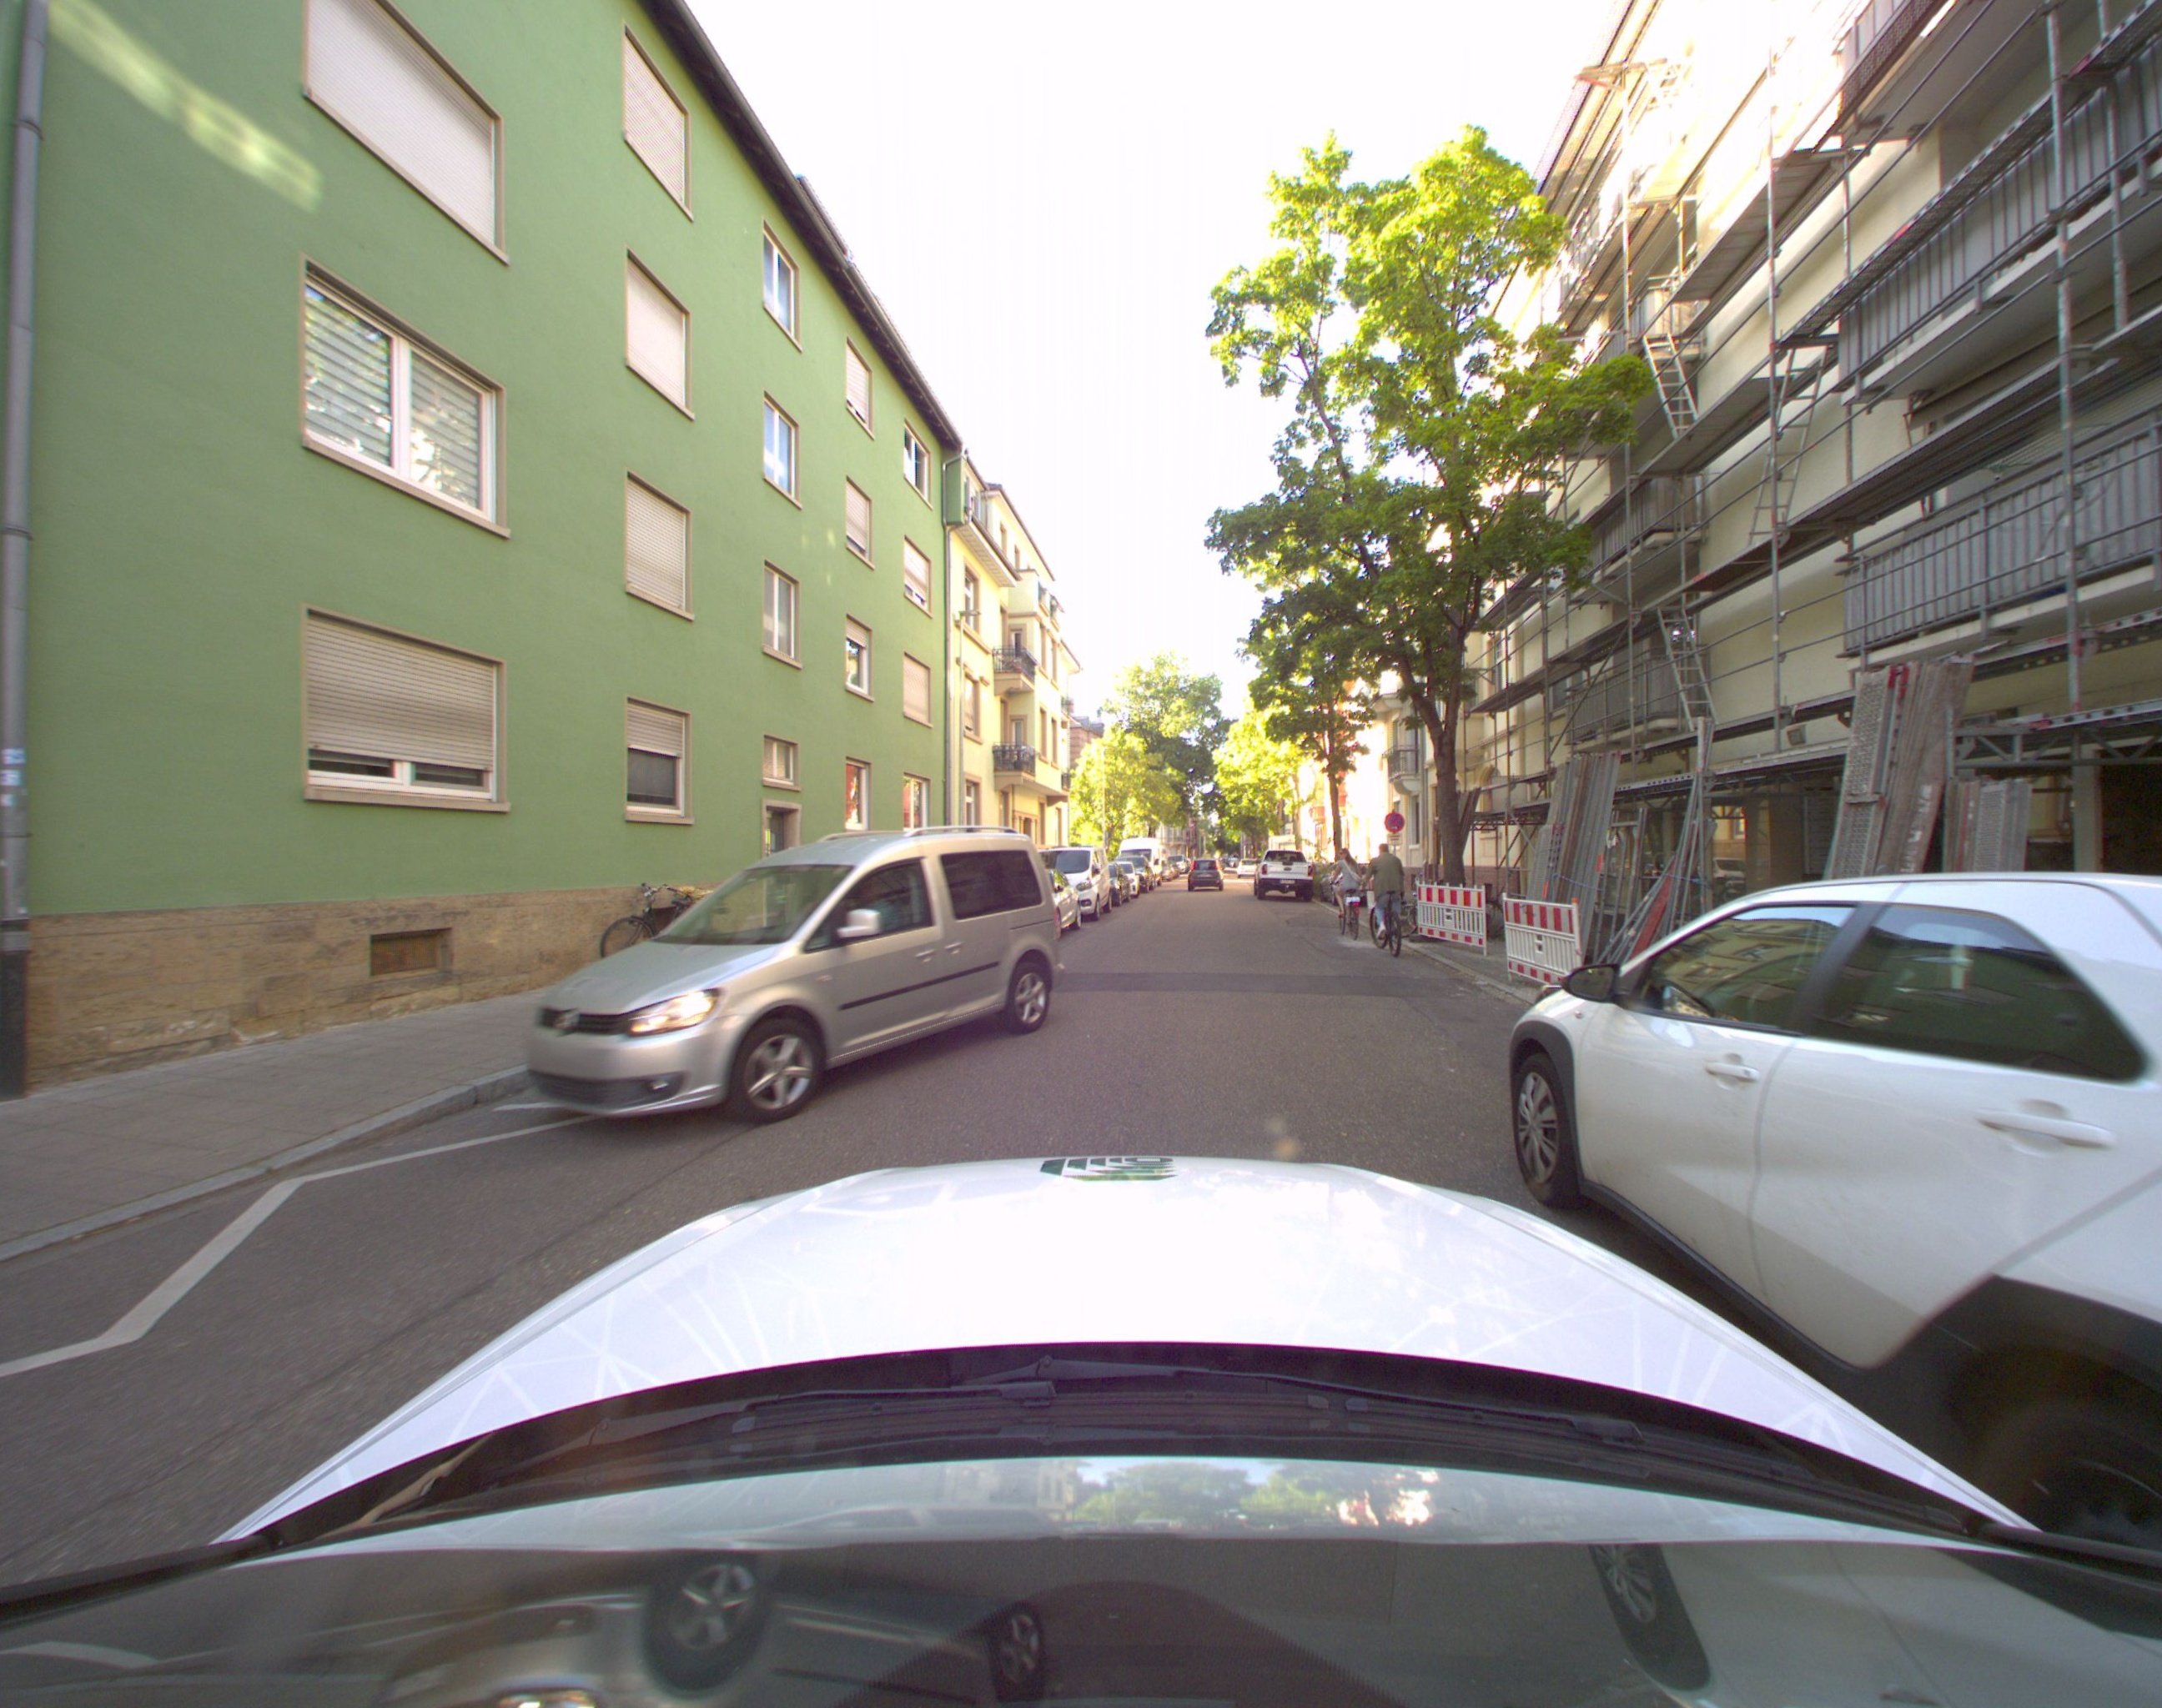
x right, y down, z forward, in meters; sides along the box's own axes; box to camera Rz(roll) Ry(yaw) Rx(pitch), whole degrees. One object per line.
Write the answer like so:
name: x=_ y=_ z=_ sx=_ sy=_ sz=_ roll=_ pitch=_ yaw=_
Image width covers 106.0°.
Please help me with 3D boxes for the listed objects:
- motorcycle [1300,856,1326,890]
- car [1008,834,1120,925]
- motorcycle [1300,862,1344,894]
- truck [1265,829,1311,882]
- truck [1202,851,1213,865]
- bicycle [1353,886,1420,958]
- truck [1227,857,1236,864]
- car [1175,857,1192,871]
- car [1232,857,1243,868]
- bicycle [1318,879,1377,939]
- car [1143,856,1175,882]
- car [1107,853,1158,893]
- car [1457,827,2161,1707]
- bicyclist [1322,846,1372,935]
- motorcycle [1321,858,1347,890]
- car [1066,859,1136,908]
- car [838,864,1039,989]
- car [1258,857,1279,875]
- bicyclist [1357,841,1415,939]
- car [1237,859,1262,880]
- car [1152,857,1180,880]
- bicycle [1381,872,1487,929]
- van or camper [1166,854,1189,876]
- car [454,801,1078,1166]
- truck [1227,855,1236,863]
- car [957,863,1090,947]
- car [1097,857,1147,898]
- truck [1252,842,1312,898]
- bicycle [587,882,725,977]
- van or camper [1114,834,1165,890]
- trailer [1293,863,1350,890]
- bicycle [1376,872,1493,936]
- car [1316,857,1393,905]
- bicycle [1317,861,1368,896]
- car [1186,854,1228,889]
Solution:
motorcycle: x=10.383 y=0.823 z=36.562 sx=0.924 sy=1.486 sz=2.144 roll=0 pitch=0 yaw=11
car: x=-0.320 y=0.668 z=23.009 sx=2.239 sy=2.168 sz=5.255 roll=-3 pitch=-1 yaw=8
motorcycle: x=9.872 y=0.964 z=33.317 sx=1.770 sy=1.240 sz=0.696 roll=0 pitch=0 yaw=-30
truck: x=12.813 y=0.084 z=50.722 sx=2.061 sy=2.969 sz=6.124 roll=-3 pitch=-1 yaw=9
truck: x=28.878 y=0.843 z=185.483 sx=2.057 sy=2.926 sz=5.082 roll=-5 pitch=-1 yaw=10
bicycle: x=5.090 y=1.094 z=13.663 sx=0.734 sy=1.060 sz=1.863 roll=1 pitch=-1 yaw=11
truck: x=35.684 y=1.568 z=192.815 sx=1.981 sy=1.457 sz=4.011 roll=-1 pitch=0 yaw=10
car: x=12.310 y=1.153 z=97.498 sx=1.815 sy=1.554 sz=4.142 roll=-4 pitch=-1 yaw=7
car: x=24.959 y=1.305 z=130.156 sx=1.652 sy=1.669 sz=3.768 roll=0 pitch=0 yaw=11
bicycle: x=5.227 y=1.045 z=16.077 sx=0.702 sy=1.045 sz=1.861 roll=3 pitch=0 yaw=6
car: x=5.339 y=0.968 z=55.097 sx=1.770 sy=1.591 sz=4.480 roll=-3 pitch=-1 yaw=9
car: x=2.513 y=0.849 z=38.679 sx=1.864 sy=1.685 sz=4.982 roll=-3 pitch=-1 yaw=9
car: x=2.639 y=0.741 z=2.527 sx=1.791 sy=1.535 sz=3.976 roll=0 pitch=0 yaw=11
bicyclist: x=5.219 y=0.699 z=16.055 sx=0.711 sy=1.689 sz=0.983 roll=2 pitch=0 yaw=7
motorcycle: x=11.314 y=0.868 z=36.438 sx=0.856 sy=1.416 sz=2.241 roll=0 pitch=0 yaw=11
car: x=0.817 y=0.980 z=28.970 sx=1.755 sy=1.521 sz=4.838 roll=-2 pitch=0 yaw=10
car: x=-1.907 y=0.938 z=12.433 sx=1.711 sy=1.462 sz=4.515 roll=-3 pitch=-1 yaw=7
car: x=16.454 y=1.035 z=71.492 sx=1.587 sy=1.488 sz=3.758 roll=-2 pitch=-1 yaw=10
bicyclist: x=5.087 y=0.574 z=13.635 sx=0.750 sy=1.565 sz=0.984 roll=1 pitch=0 yaw=10
car: x=12.860 y=1.164 z=62.379 sx=1.669 sy=1.544 sz=3.809 roll=0 pitch=0 yaw=9
car: x=6.441 y=1.062 z=61.220 sx=1.665 sy=1.572 sz=4.163 roll=-4 pitch=-1 yaw=10
bicycle: x=7.273 y=0.939 z=16.886 sx=1.960 sy=1.121 sz=0.751 roll=0 pitch=0 yaw=20
van or camper: x=9.750 y=1.078 z=81.842 sx=1.910 sy=1.980 sz=5.475 roll=-4 pitch=-1 yaw=9
car: x=-1.948 y=0.674 z=6.481 sx=1.754 sy=1.843 sz=4.443 roll=-3 pitch=-1 yaw=30
truck: x=36.558 y=1.263 z=198.141 sx=1.981 sy=1.992 sz=4.011 roll=-1 pitch=0 yaw=10
car: x=-1.063 y=0.984 z=17.399 sx=1.822 sy=1.462 sz=4.373 roll=-3 pitch=-1 yaw=9
car: x=1.751 y=0.937 z=33.650 sx=1.625 sy=1.552 sz=4.099 roll=-2 pitch=-1 yaw=9
truck: x=7.568 y=0.564 z=31.082 sx=1.817 sy=1.949 sz=5.556 roll=0 pitch=0 yaw=10
bicycle: x=-5.628 y=0.956 z=10.930 sx=0.484 sy=1.075 sz=1.975 roll=3 pitch=0 yaw=10
van or camper: x=3.265 y=0.426 z=44.419 sx=2.115 sy=2.769 sz=5.867 roll=-3 pitch=-1 yaw=10
trailer: x=10.211 y=0.966 z=34.640 sx=2.076 sy=1.112 sz=1.114 roll=0 pitch=0 yaw=-5
bicycle: x=6.710 y=0.914 z=15.503 sx=1.904 sy=1.121 sz=0.752 roll=0 pitch=0 yaw=39
car: x=9.000 y=0.845 z=27.124 sx=1.670 sy=1.422 sz=4.441 roll=-2 pitch=0 yaw=9
bicycle: x=9.934 y=0.927 z=30.964 sx=1.749 sy=1.305 sz=0.587 roll=-1 pitch=-1 yaw=8
car: x=5.948 y=0.806 z=38.230 sx=1.621 sy=1.550 sz=3.277 roll=-1 pitch=0 yaw=14
